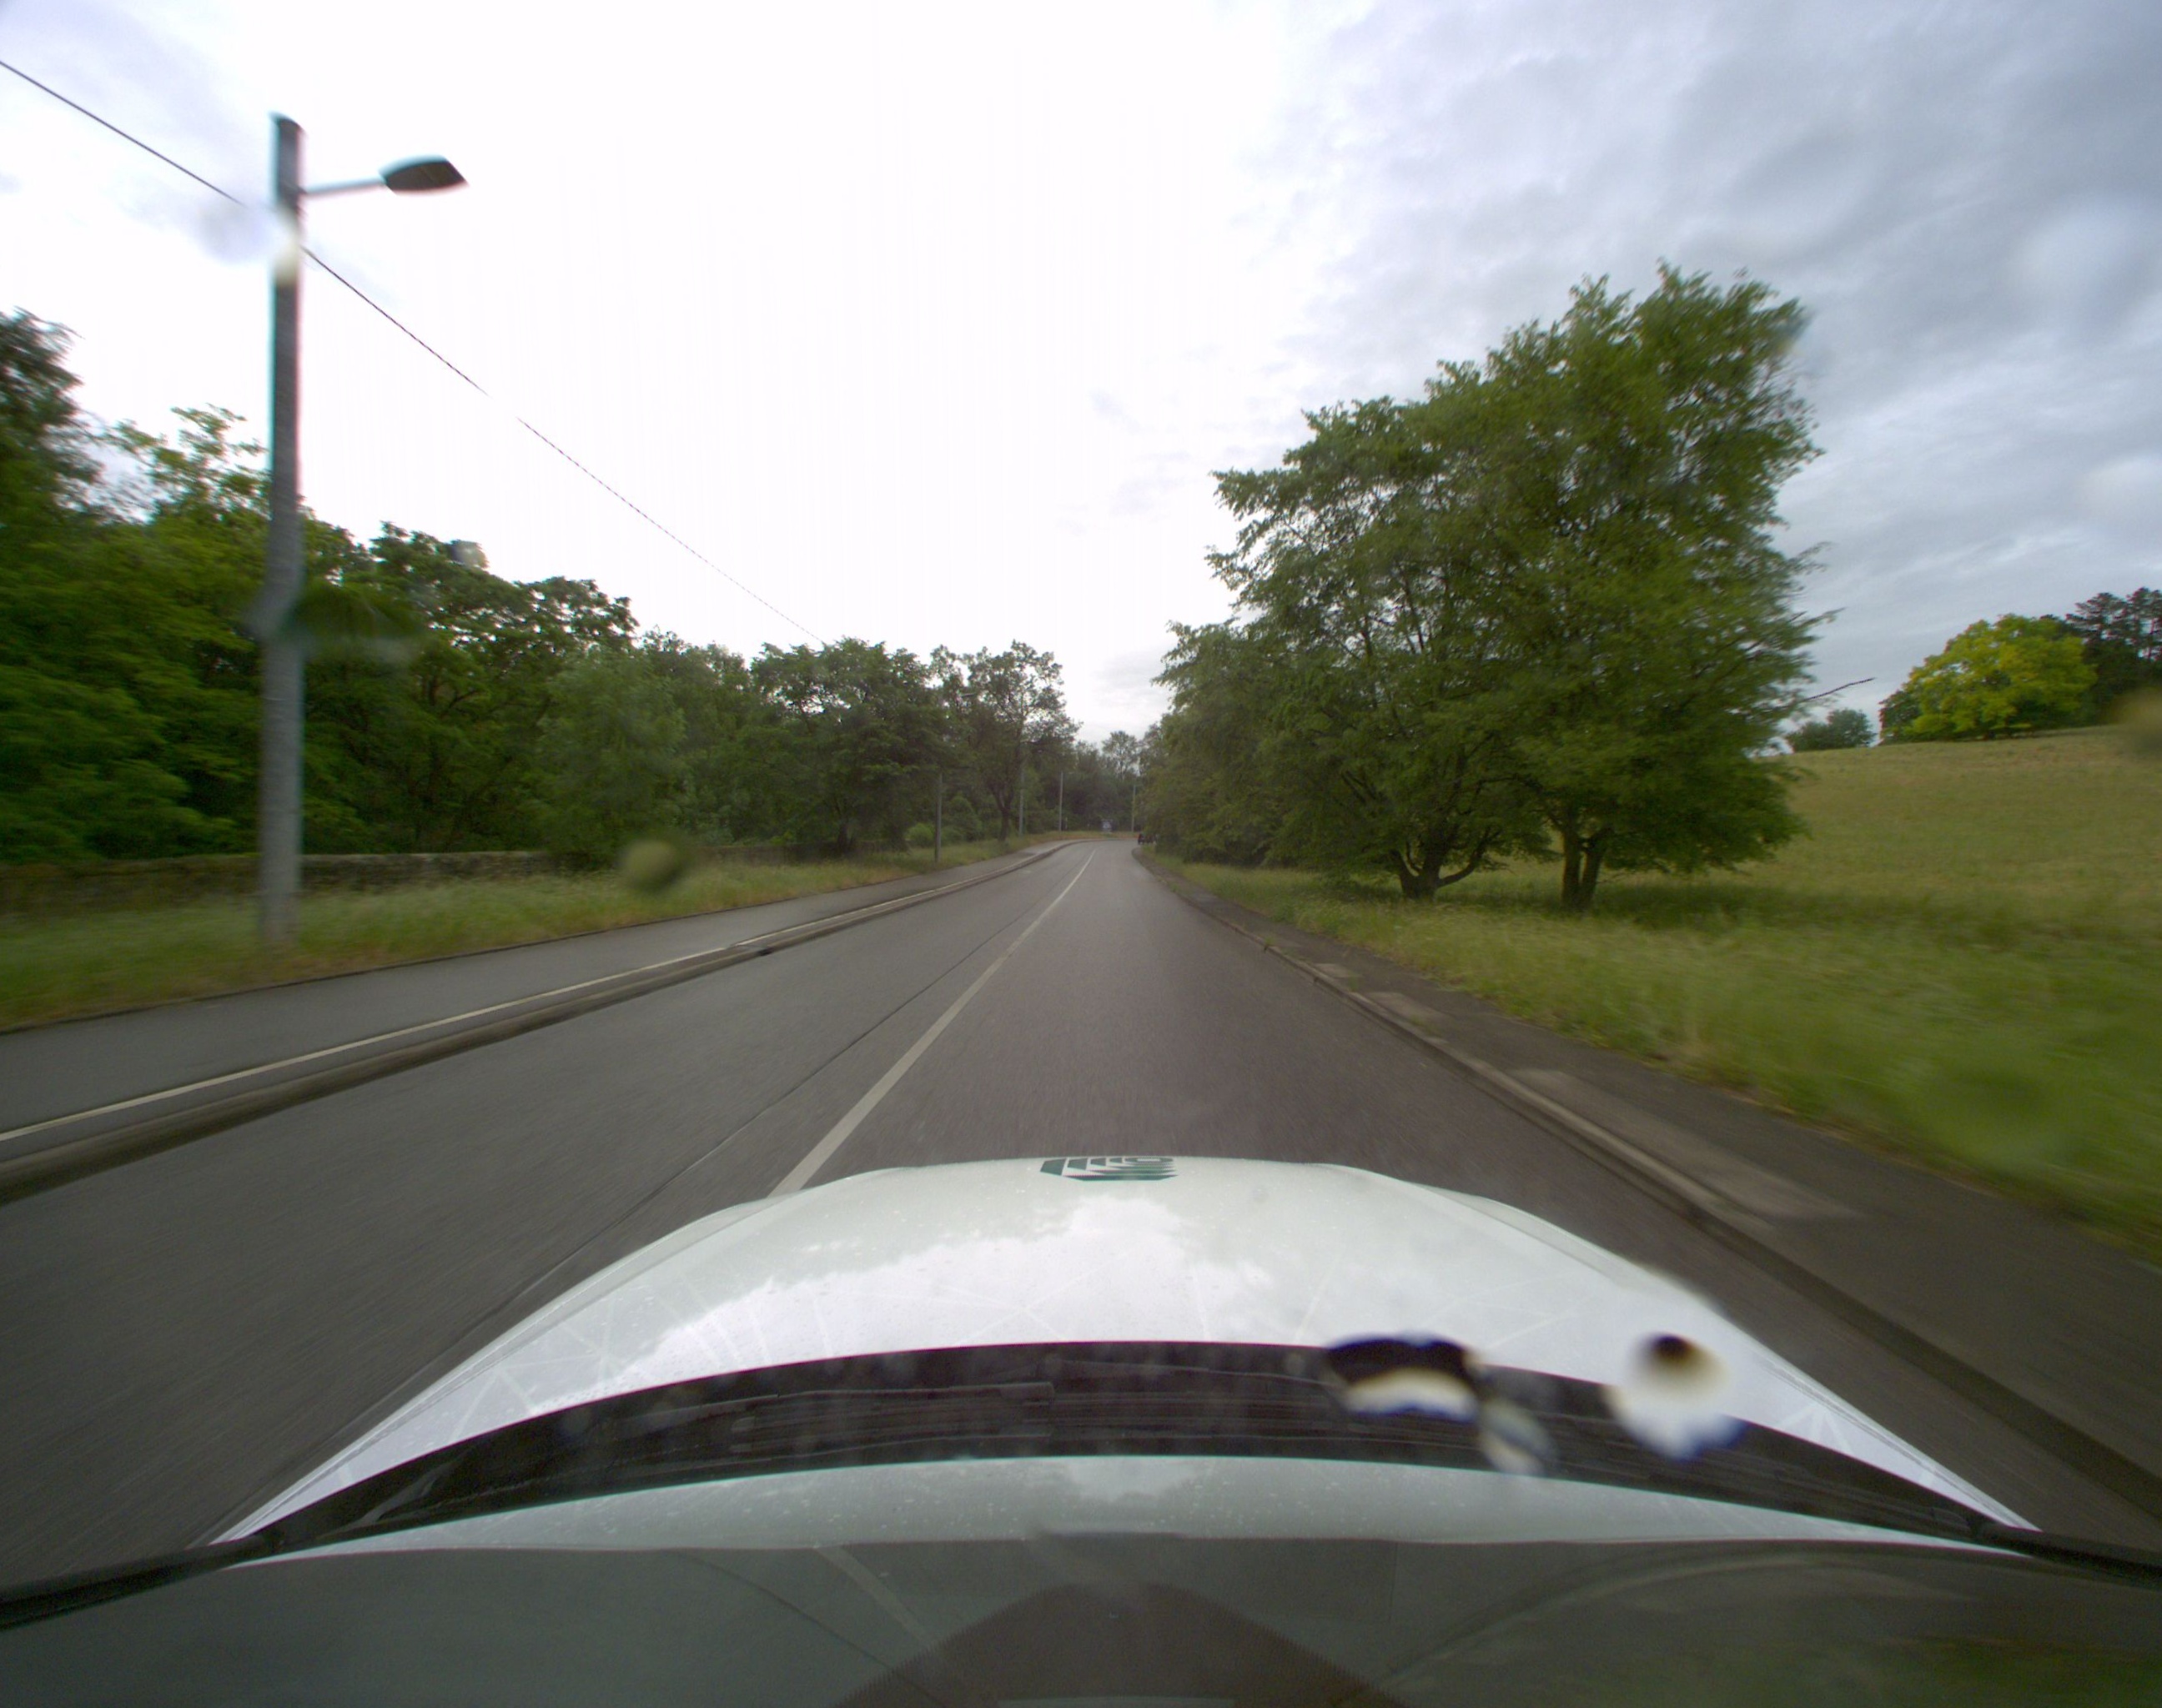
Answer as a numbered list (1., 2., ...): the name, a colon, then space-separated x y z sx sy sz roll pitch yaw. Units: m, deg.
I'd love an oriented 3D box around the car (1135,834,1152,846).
1. car: 9.483 -2.051 123.055 1.729 1.717 4.016 2 0 15
